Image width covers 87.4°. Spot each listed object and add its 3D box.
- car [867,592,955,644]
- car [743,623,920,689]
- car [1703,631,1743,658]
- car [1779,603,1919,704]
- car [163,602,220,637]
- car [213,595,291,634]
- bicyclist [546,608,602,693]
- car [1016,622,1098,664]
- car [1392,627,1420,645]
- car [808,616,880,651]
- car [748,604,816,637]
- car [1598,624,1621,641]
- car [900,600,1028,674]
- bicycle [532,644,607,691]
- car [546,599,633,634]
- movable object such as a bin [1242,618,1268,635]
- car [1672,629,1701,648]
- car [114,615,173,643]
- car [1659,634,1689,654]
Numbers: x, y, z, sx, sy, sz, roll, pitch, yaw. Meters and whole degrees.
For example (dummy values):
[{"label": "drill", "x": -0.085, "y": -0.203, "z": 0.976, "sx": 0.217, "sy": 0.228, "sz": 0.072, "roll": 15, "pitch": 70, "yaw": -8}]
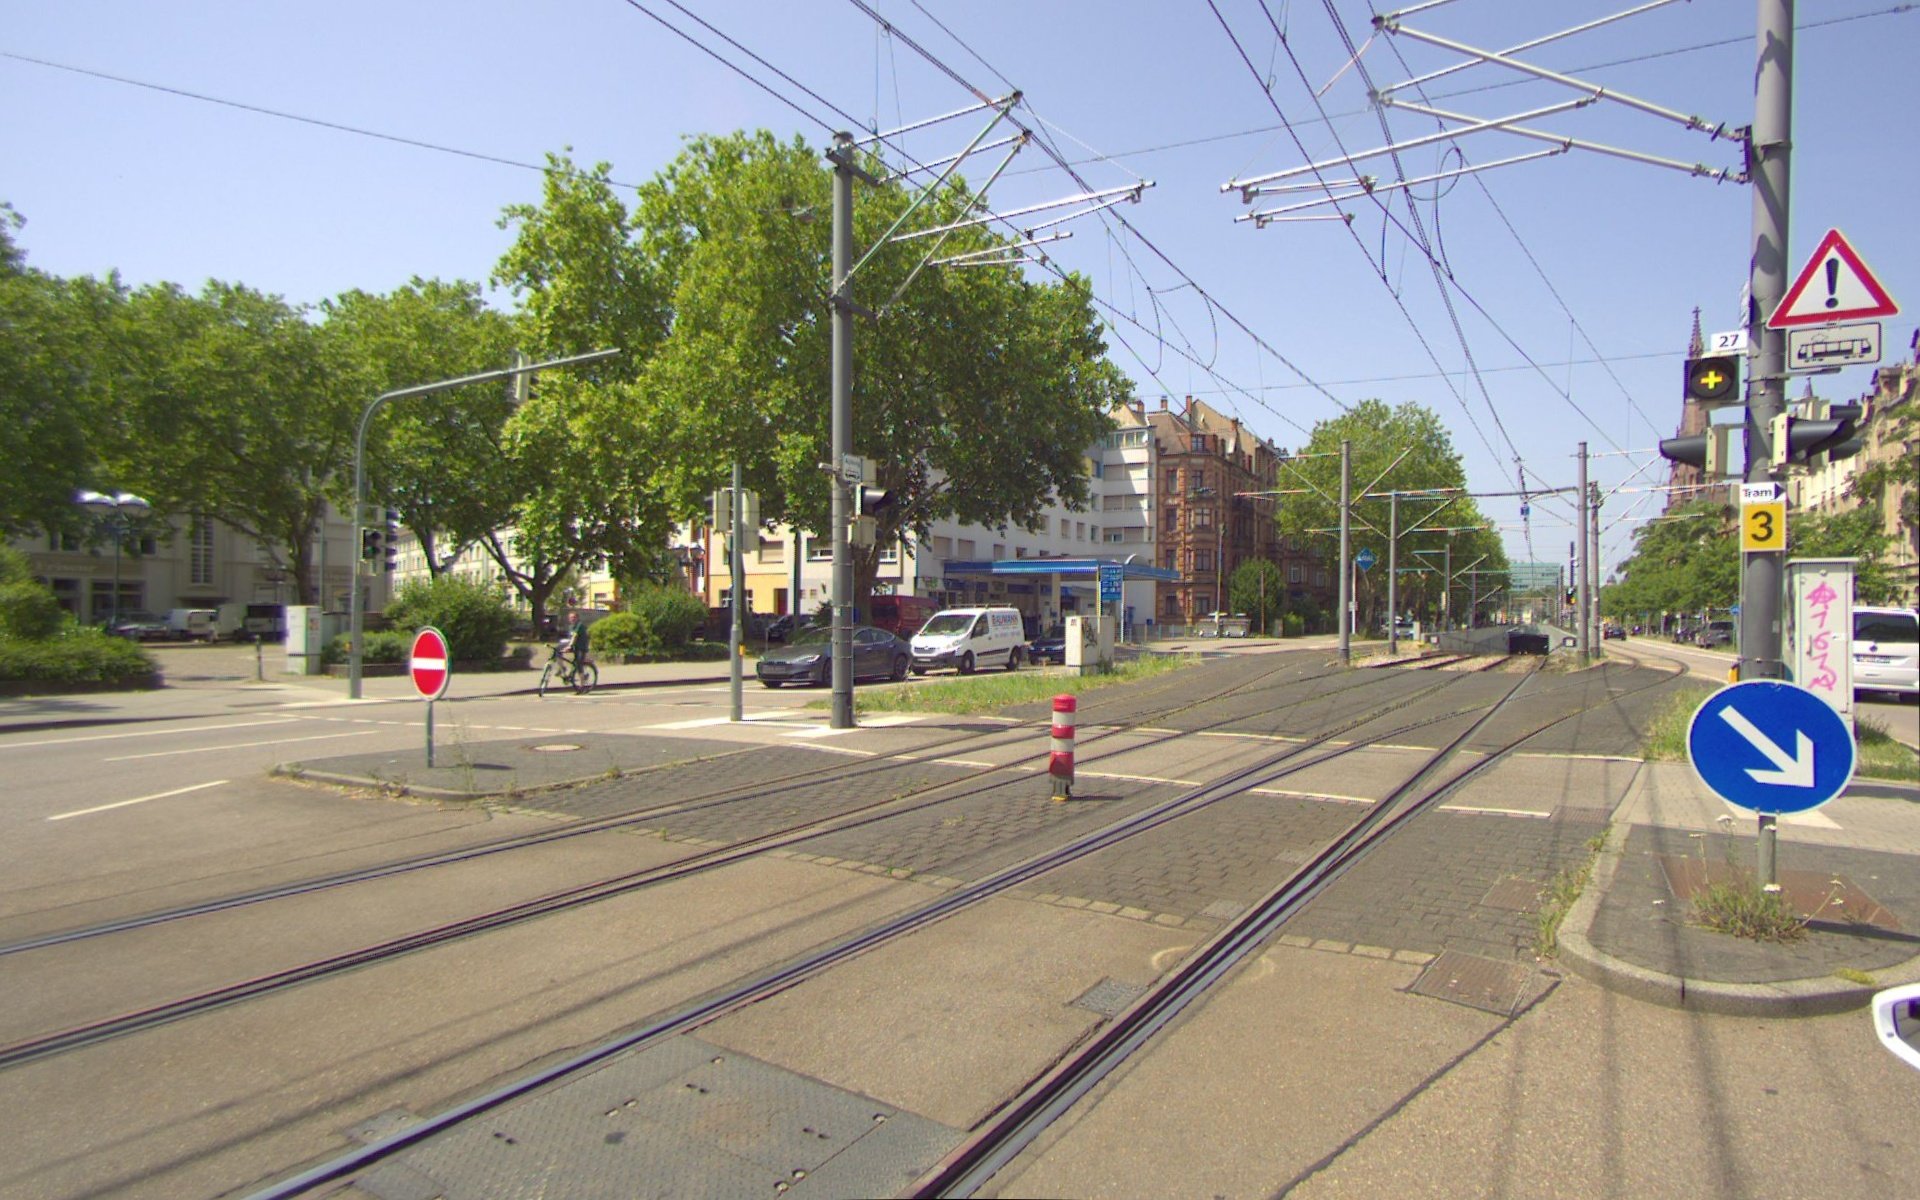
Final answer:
[{"label": "car", "x": -2.356, "y": 0.890, "z": 49.833, "sx": 1.821, "sy": 2.424, "sz": 4.970, "roll": 0, "pitch": -1, "yaw": 32}, {"label": "car", "x": -3.004, "y": 1.289, "z": 24.542, "sx": 1.918, "sy": 1.377, "sz": 4.621, "roll": 1, "pitch": 0, "yaw": 29}, {"label": "car", "x": 52.879, "y": 3.068, "z": 69.684, "sx": 1.724, "sy": 1.728, "sz": 3.751, "roll": 2, "pitch": 0, "yaw": 30}, {"label": "car", "x": 19.559, "y": 1.111, "z": 22.131, "sx": 1.890, "sy": 1.970, "sz": 4.252, "roll": 2, "pitch": 0, "yaw": 34}, {"label": "car", "x": -46.606, "y": 1.185, "z": 60.915, "sx": 3.861, "sy": 1.975, "sz": 1.569, "roll": 2, "pitch": 0, "yaw": 34}, {"label": "car", "x": -38.139, "y": 0.772, "z": 54.115, "sx": 3.933, "sy": 1.975, "sz": 2.159, "roll": 2, "pitch": 0, "yaw": 34}, {"label": "bicyclist", "x": -8.091, "y": 1.040, "z": 21.072, "sx": 0.628, "sy": 1.708, "sz": 0.868, "roll": 2, "pitch": 0, "yaw": 27}, {"label": "car", "x": 3.566, "y": 1.534, "z": 36.499, "sx": 1.573, "sy": 1.439, "sz": 3.775, "roll": -1, "pitch": -2, "yaw": 30}, {"label": "car", "x": 40.871, "y": 3.282, "z": 92.012, "sx": 1.820, "sy": 1.647, "sz": 4.592, "roll": 0, "pitch": -1, "yaw": 31}, {"label": "car", "x": -5.826, "y": 1.661, "z": 50.939, "sx": 1.558, "sy": 1.664, "sz": 3.917, "roll": 0, "pitch": -1, "yaw": 31}, {"label": "car", "x": -9.633, "y": 1.113, "z": 54.516, "sx": 1.557, "sy": 1.715, "sz": 3.920, "roll": 0, "pitch": -1, "yaw": 28}, {"label": "car", "x": 66.478, "y": 3.315, "z": 102.897, "sx": 1.724, "sy": 1.559, "sz": 3.751, "roll": 2, "pitch": 0, "yaw": 30}, {"label": "car", "x": 0.235, "y": 1.072, "z": 30.136, "sx": 1.750, "sy": 2.017, "sz": 4.797, "roll": 1, "pitch": -1, "yaw": 29}, {"label": "bicycle", "x": -8.154, "y": 1.395, "z": 21.020, "sx": 0.488, "sy": 0.894, "sz": 1.480, "roll": 2, "pitch": 0, "yaw": 28}, {"label": "car", "x": -22.563, "y": 1.024, "z": 61.376, "sx": 1.887, "sy": 2.017, "sz": 5.103, "roll": 1, "pitch": -1, "yaw": 25}, {"label": "movable object such as a bin", "x": 23.982, "y": 2.147, "z": 81.752, "sx": 1.756, "sy": 1.403, "sz": 1.467, "roll": 0, "pitch": -1, "yaw": 29}, {"label": "car", "x": 64.853, "y": 3.421, "z": 89.711, "sx": 1.724, "sy": 1.599, "sz": 3.751, "roll": 2, "pitch": 0, "yaw": 30}, {"label": "car", "x": -47.558, "y": 1.679, "z": 58.467, "sx": 3.861, "sy": 1.428, "sz": 1.617, "roll": 2, "pitch": 0, "yaw": 34}, {"label": "car", "x": 61.182, "y": 3.770, "z": 86.138, "sx": 1.724, "sy": 1.599, "sz": 3.751, "roll": 2, "pitch": 0, "yaw": 30}]
